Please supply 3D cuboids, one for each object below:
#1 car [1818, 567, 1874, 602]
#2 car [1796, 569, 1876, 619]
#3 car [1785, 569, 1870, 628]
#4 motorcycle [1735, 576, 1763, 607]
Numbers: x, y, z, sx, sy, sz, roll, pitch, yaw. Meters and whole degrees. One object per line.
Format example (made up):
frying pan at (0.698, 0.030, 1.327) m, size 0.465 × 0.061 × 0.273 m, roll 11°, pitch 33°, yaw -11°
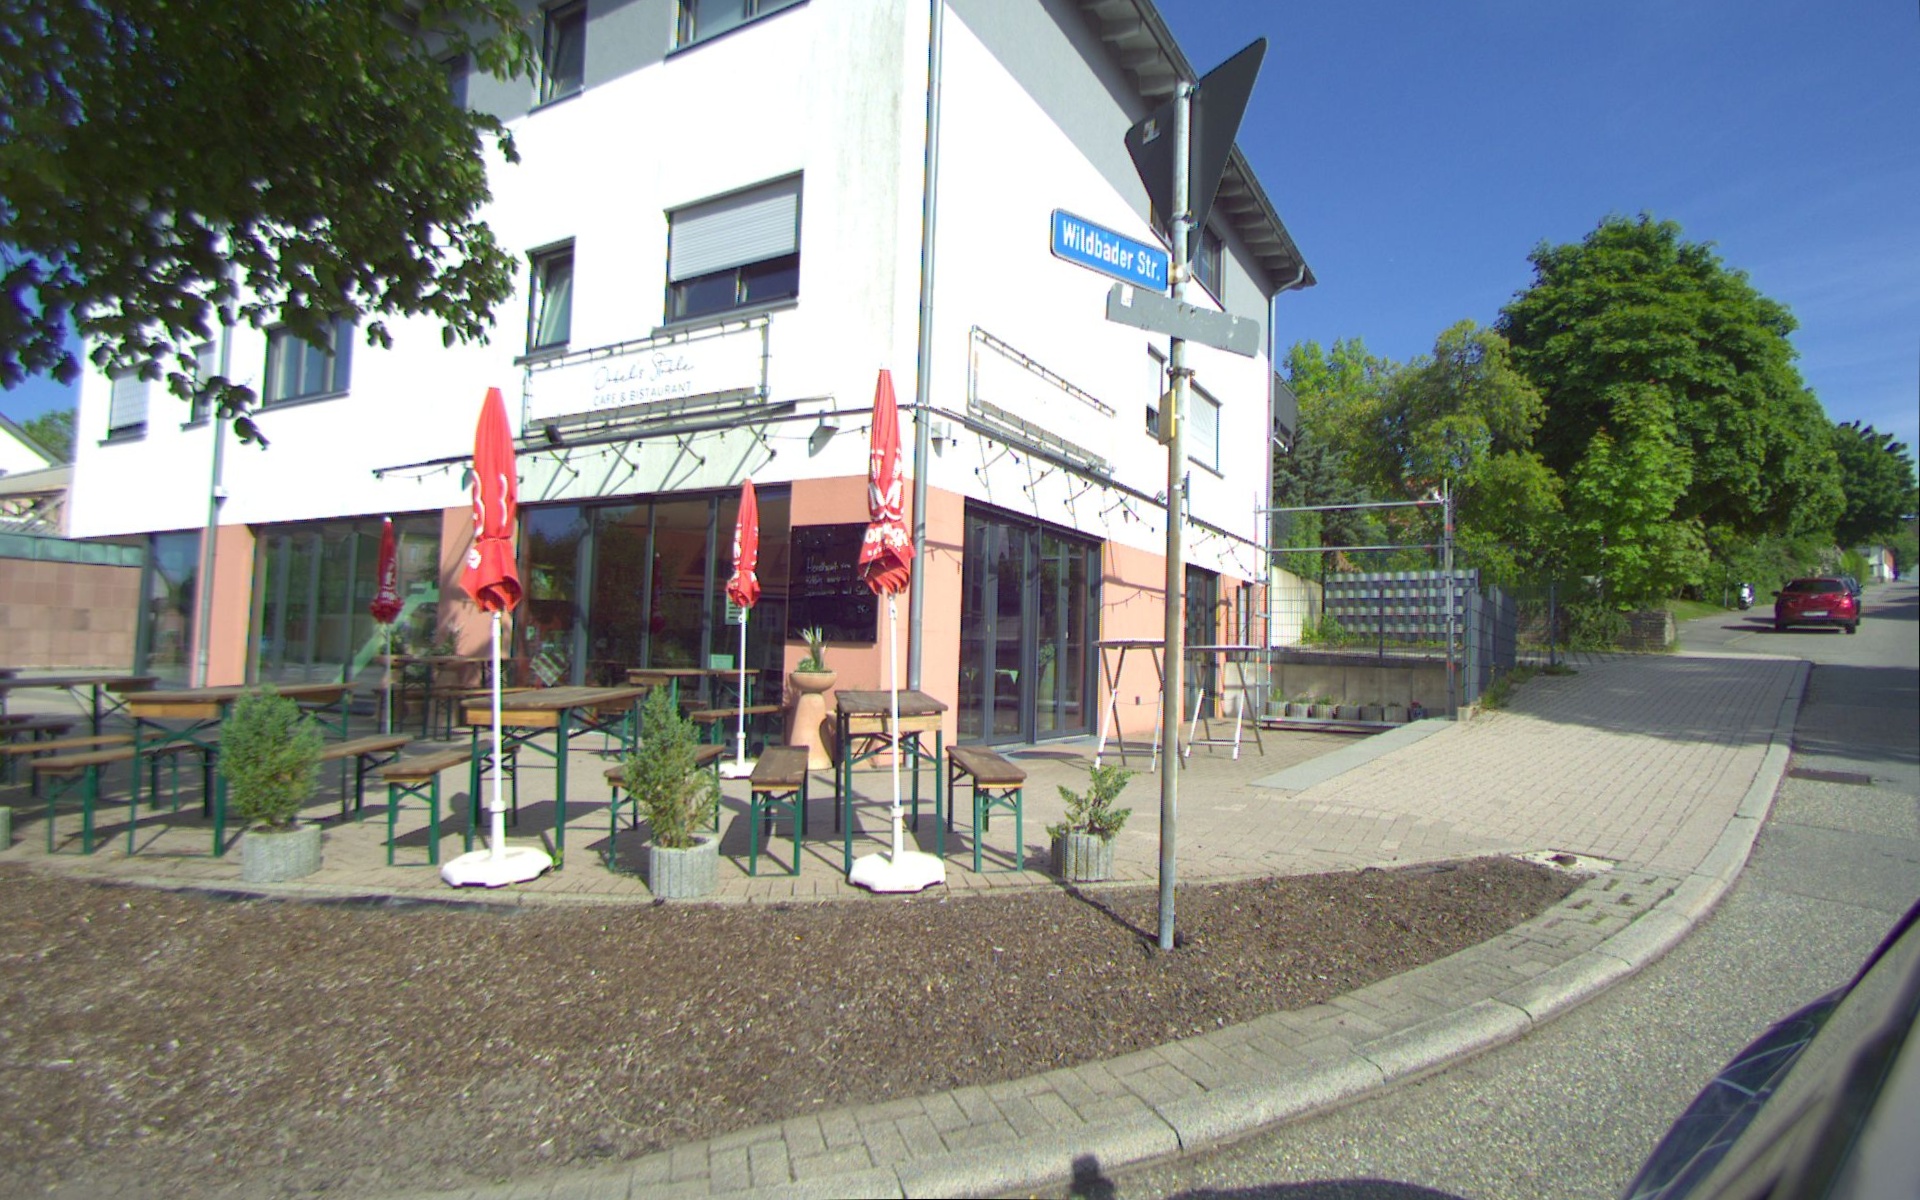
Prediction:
car at (39.849, -0.687, 45.508) m, size 1.770 × 1.489 × 3.752 m, roll 0°, pitch 1°, yaw 43°
car at (27.666, -0.211, 31.923) m, size 1.770 × 1.489 × 3.752 m, roll 0°, pitch 1°, yaw 43°
car at (23.898, -0.069, 27.833) m, size 1.619 × 1.517 × 3.752 m, roll 0°, pitch 1°, yaw 43°
motorcycle at (31.786, -0.347, 40.751) m, size 0.782 × 1.196 × 2.156 m, roll 0°, pitch 1°, yaw 41°
